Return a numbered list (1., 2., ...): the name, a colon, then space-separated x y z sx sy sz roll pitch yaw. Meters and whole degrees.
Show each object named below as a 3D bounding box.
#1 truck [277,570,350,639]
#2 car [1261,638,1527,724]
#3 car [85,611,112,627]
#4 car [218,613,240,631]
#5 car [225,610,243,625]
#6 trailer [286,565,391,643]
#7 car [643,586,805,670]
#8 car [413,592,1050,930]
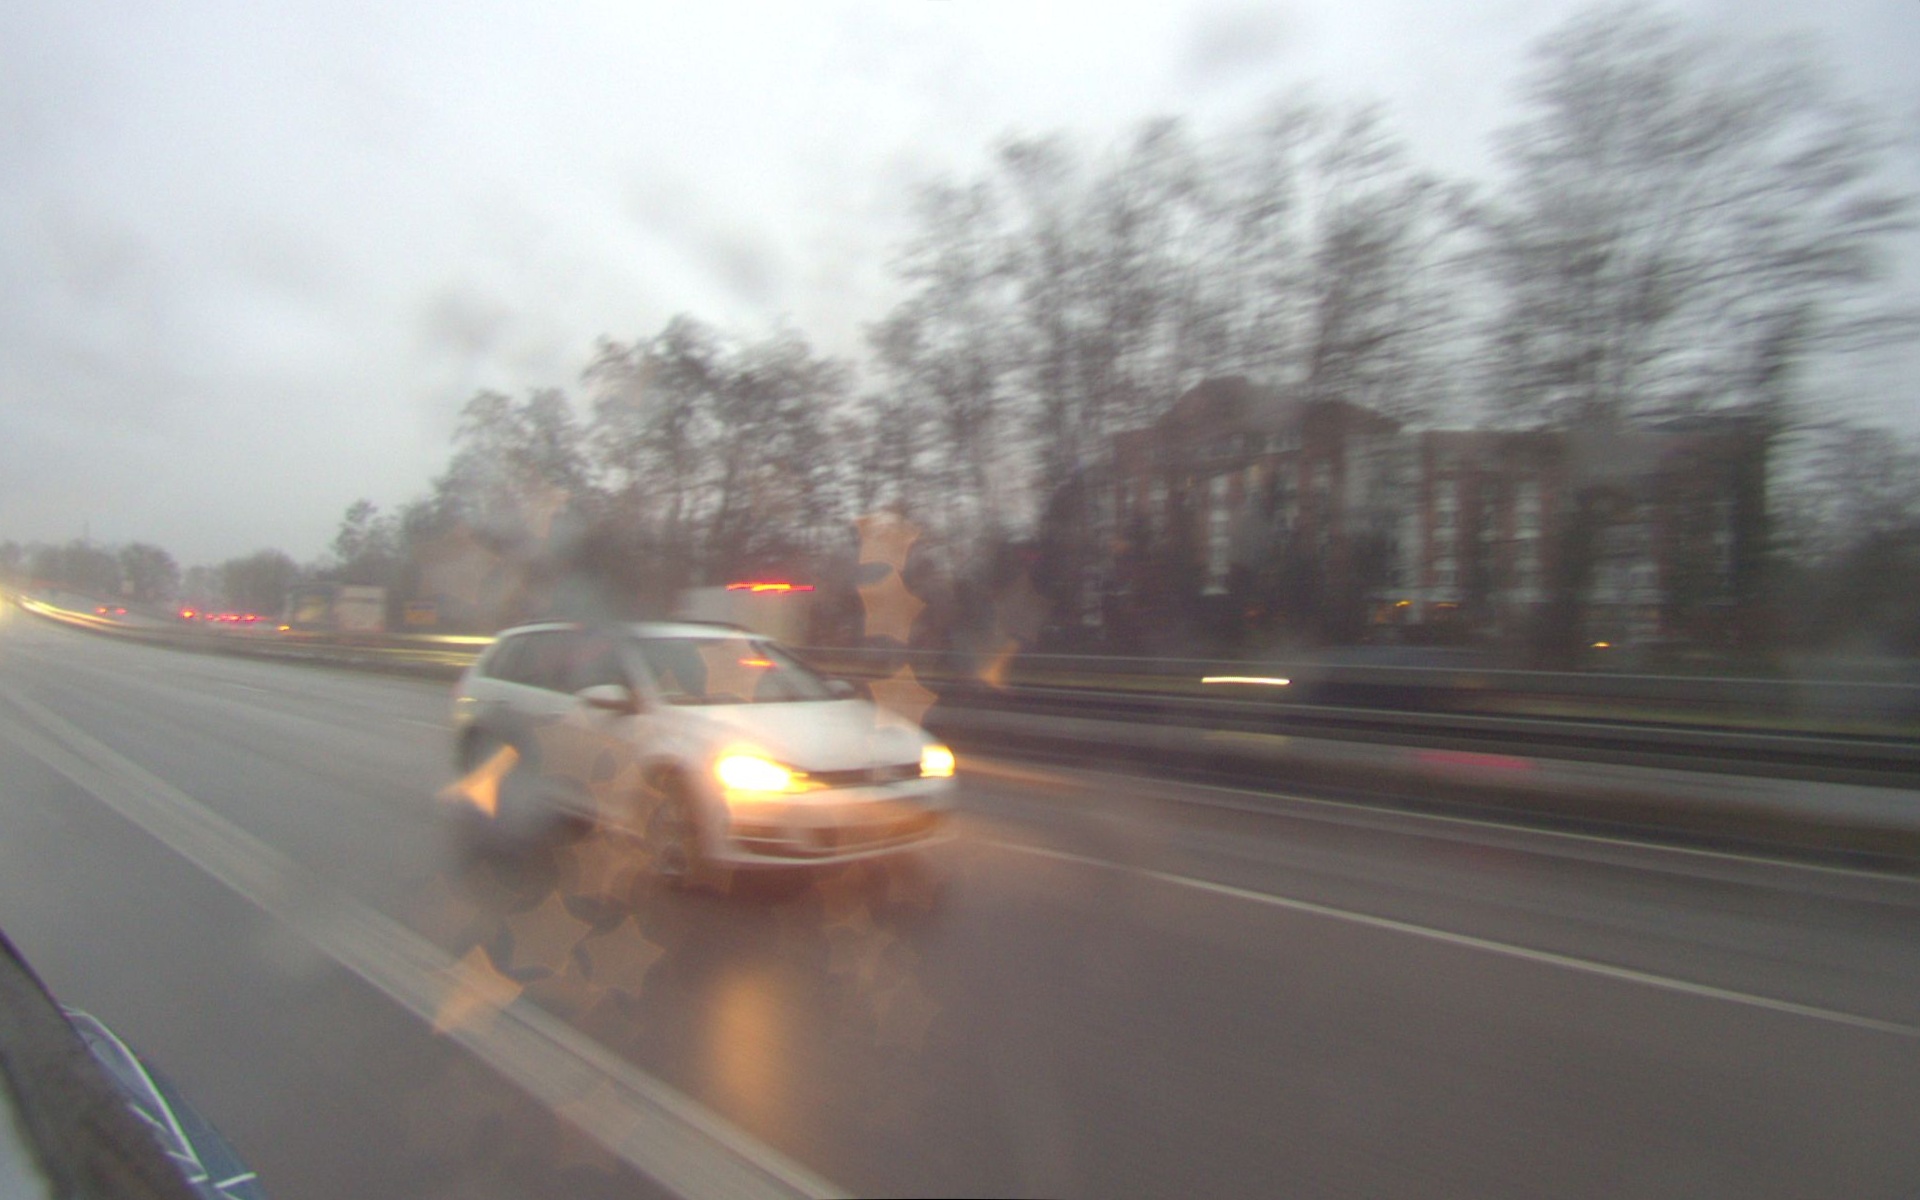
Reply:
1. truck: -47.920 0.307 75.001 3.448 4.884 6.037 -1 0 -43
2. car: 8.330 1.488 19.702 4.472 1.331 1.691 -1 0 43
3. car: -85.259 1.883 100.165 4.043 1.576 1.681 -1 0 45
4. car: -88.036 2.614 121.842 1.968 2.029 4.008 -1 0 -38
5. car: -77.286 1.873 107.761 1.439 1.576 3.658 1 -1 -38
6. trailer: -43.023 0.261 69.742 3.448 4.884 13.492 -1 0 -43
7. car: -8.512 0.925 36.088 6.339 2.751 2.500 -1 0 43
8. car: -1.860 0.793 6.972 4.788 1.532 1.926 -1 -3 43
